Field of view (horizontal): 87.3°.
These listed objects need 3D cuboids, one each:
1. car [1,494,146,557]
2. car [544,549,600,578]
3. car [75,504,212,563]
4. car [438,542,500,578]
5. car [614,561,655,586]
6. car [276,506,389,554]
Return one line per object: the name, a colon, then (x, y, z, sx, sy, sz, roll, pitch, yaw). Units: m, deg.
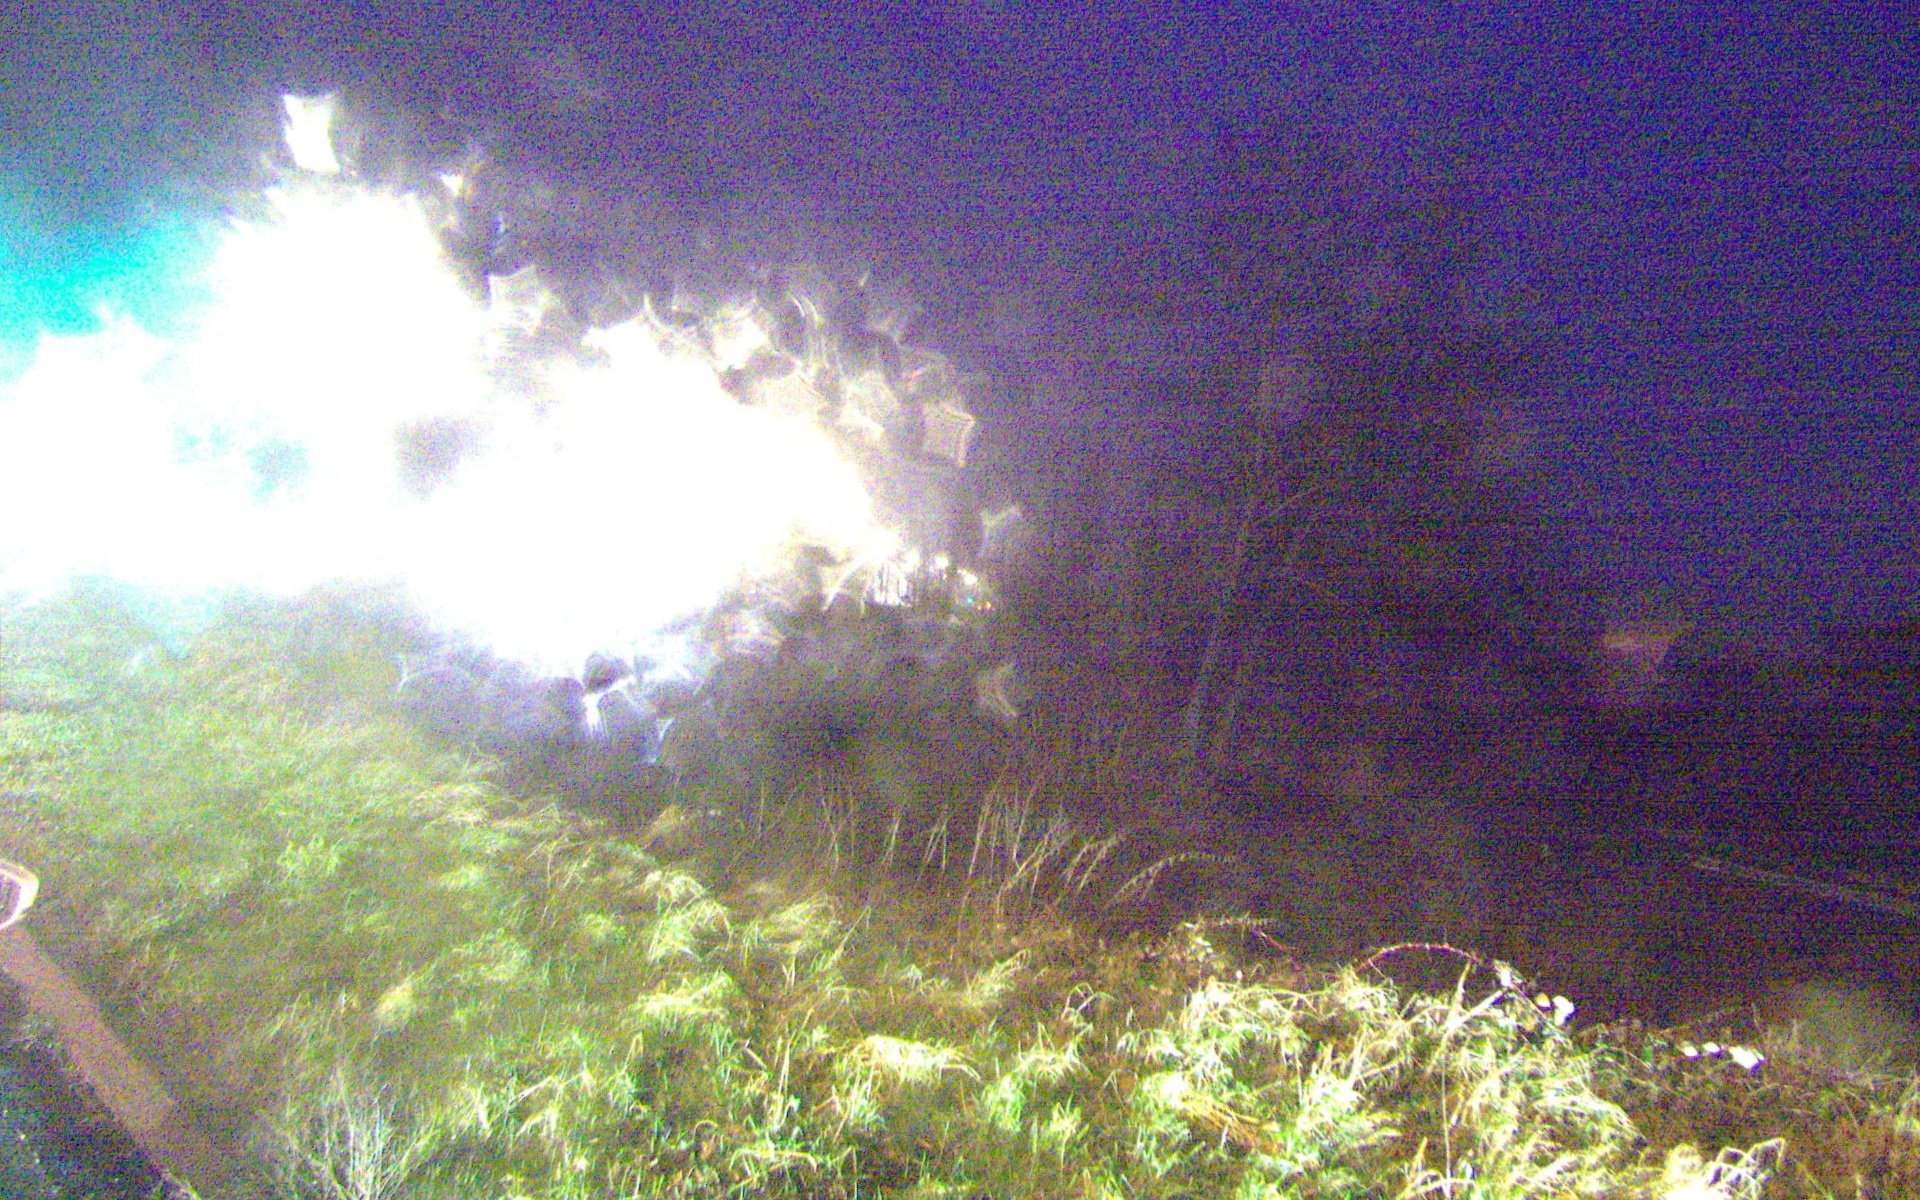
car: (-35.258, -2.905, 40.159, 1.732, 1.870, 4.129, 7, -2, 5)
car: (-26.485, -2.490, 68.882, 1.784, 1.597, 4.307, 6, 0, 4)
car: (-31.996, -2.574, 39.591, 1.770, 1.685, 3.980, 7, -2, 5)
car: (-33.181, -2.657, 68.129, 1.794, 1.870, 4.005, 7, -2, 5)
car: (-28.194, -2.273, 87.287, 1.770, 1.685, 4.492, 7, -2, 3)
car: (-27.732, -3.063, 44.644, 1.749, 1.502, 4.413, 8, 0, 7)
